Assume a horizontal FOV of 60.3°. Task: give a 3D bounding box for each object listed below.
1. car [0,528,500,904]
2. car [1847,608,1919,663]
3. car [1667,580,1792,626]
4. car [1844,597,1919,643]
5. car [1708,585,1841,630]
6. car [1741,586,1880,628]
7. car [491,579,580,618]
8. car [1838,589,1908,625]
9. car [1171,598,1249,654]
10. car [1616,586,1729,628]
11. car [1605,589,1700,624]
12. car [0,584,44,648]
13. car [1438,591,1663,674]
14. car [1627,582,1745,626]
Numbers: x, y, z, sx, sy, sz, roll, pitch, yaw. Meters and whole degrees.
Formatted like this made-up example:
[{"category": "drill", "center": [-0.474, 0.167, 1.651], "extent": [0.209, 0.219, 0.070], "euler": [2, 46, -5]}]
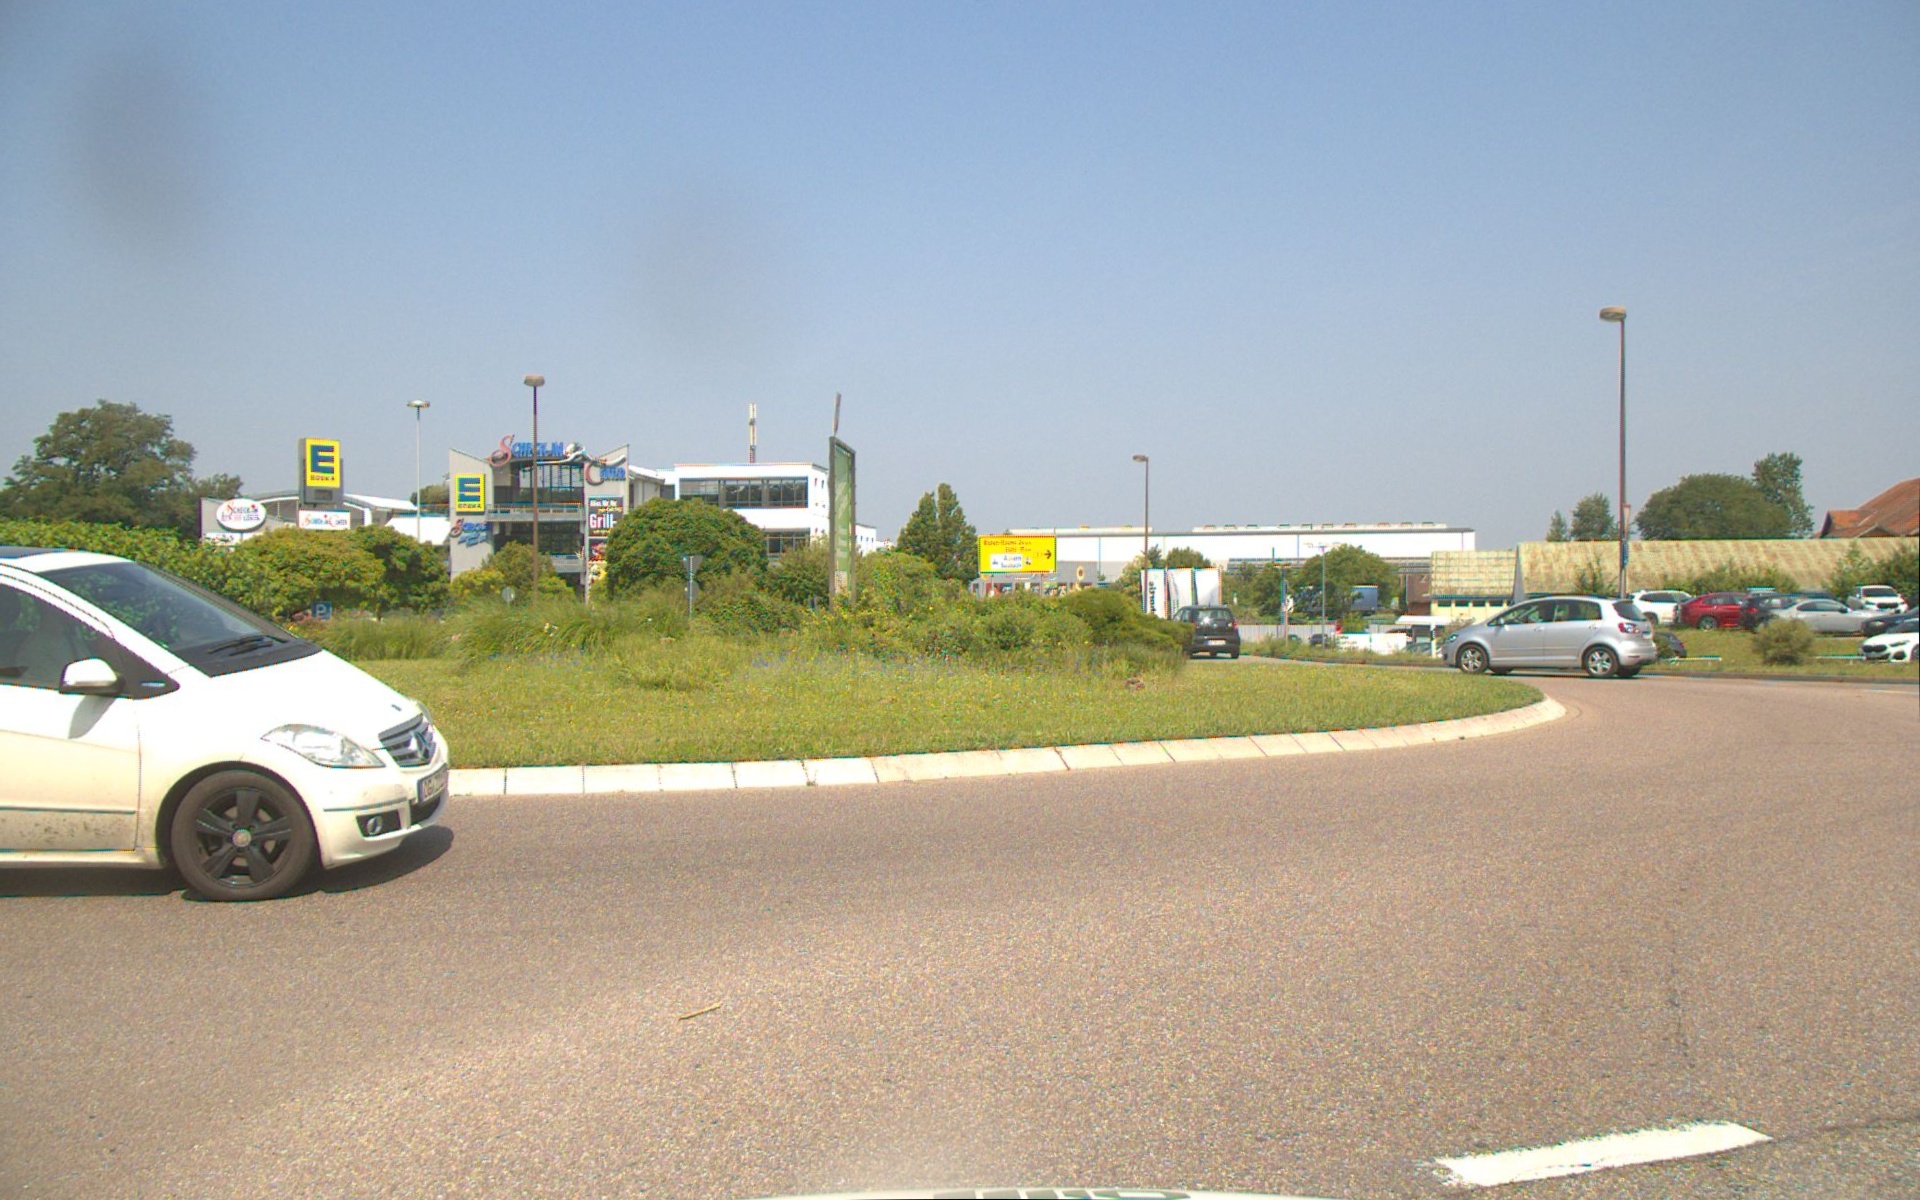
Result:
[{"category": "car", "center": [-4.387, 0.477, 8.056], "extent": [3.802, 1.631, 1.786], "euler": [0, 1, -2]}, {"category": "car", "center": [29.640, 1.034, 50.689], "extent": [4.495, 1.598, 1.758], "euler": [-1, -1, -20]}, {"category": "car", "center": [31.809, 0.135, 68.492], "extent": [4.358, 1.778, 1.951], "euler": [-1, -1, 14]}, {"category": "car", "center": [32.964, 0.684, 57.246], "extent": [3.913, 1.553, 1.950], "euler": [-1, 0, 20]}, {"category": "car", "center": [32.217, 0.298, 65.539], "extent": [4.358, 1.663, 1.951], "euler": [-1, -1, 14]}, {"category": "car", "center": [32.301, 0.262, 62.968], "extent": [4.358, 1.526, 1.951], "euler": [-1, 0, 14]}, {"category": "car", "center": [-17.813, -0.052, 69.419], "extent": [3.242, 1.602, 1.557], "euler": [-1, -1, 15]}, {"category": "car", "center": [42.170, 0.318, 76.484], "extent": [1.876, 1.624, 4.307], "euler": [-1, 0, 16]}, {"category": "car", "center": [7.314, 0.769, 48.688], "extent": [1.742, 1.557, 4.000], "euler": [1, -1, 1]}, {"category": "car", "center": [31.714, 0.314, 73.753], "extent": [4.358, 1.778, 1.840], "euler": [-1, -1, 14]}, {"category": "car", "center": [31.839, 0.300, 76.134], "extent": [3.792, 1.559, 1.769], "euler": [-1, -1, 14]}, {"category": "car", "center": [-31.473, 0.509, 52.990], "extent": [1.652, 2.049, 4.002], "euler": [1, -1, 7]}, {"category": "car", "center": [11.785, 0.635, 33.051], "extent": [3.996, 1.557, 1.781], "euler": [0, -1, 30]}, {"category": "car", "center": [31.198, 0.177, 71.207], "extent": [4.358, 1.778, 1.840], "euler": [-1, -1, 14]}]
